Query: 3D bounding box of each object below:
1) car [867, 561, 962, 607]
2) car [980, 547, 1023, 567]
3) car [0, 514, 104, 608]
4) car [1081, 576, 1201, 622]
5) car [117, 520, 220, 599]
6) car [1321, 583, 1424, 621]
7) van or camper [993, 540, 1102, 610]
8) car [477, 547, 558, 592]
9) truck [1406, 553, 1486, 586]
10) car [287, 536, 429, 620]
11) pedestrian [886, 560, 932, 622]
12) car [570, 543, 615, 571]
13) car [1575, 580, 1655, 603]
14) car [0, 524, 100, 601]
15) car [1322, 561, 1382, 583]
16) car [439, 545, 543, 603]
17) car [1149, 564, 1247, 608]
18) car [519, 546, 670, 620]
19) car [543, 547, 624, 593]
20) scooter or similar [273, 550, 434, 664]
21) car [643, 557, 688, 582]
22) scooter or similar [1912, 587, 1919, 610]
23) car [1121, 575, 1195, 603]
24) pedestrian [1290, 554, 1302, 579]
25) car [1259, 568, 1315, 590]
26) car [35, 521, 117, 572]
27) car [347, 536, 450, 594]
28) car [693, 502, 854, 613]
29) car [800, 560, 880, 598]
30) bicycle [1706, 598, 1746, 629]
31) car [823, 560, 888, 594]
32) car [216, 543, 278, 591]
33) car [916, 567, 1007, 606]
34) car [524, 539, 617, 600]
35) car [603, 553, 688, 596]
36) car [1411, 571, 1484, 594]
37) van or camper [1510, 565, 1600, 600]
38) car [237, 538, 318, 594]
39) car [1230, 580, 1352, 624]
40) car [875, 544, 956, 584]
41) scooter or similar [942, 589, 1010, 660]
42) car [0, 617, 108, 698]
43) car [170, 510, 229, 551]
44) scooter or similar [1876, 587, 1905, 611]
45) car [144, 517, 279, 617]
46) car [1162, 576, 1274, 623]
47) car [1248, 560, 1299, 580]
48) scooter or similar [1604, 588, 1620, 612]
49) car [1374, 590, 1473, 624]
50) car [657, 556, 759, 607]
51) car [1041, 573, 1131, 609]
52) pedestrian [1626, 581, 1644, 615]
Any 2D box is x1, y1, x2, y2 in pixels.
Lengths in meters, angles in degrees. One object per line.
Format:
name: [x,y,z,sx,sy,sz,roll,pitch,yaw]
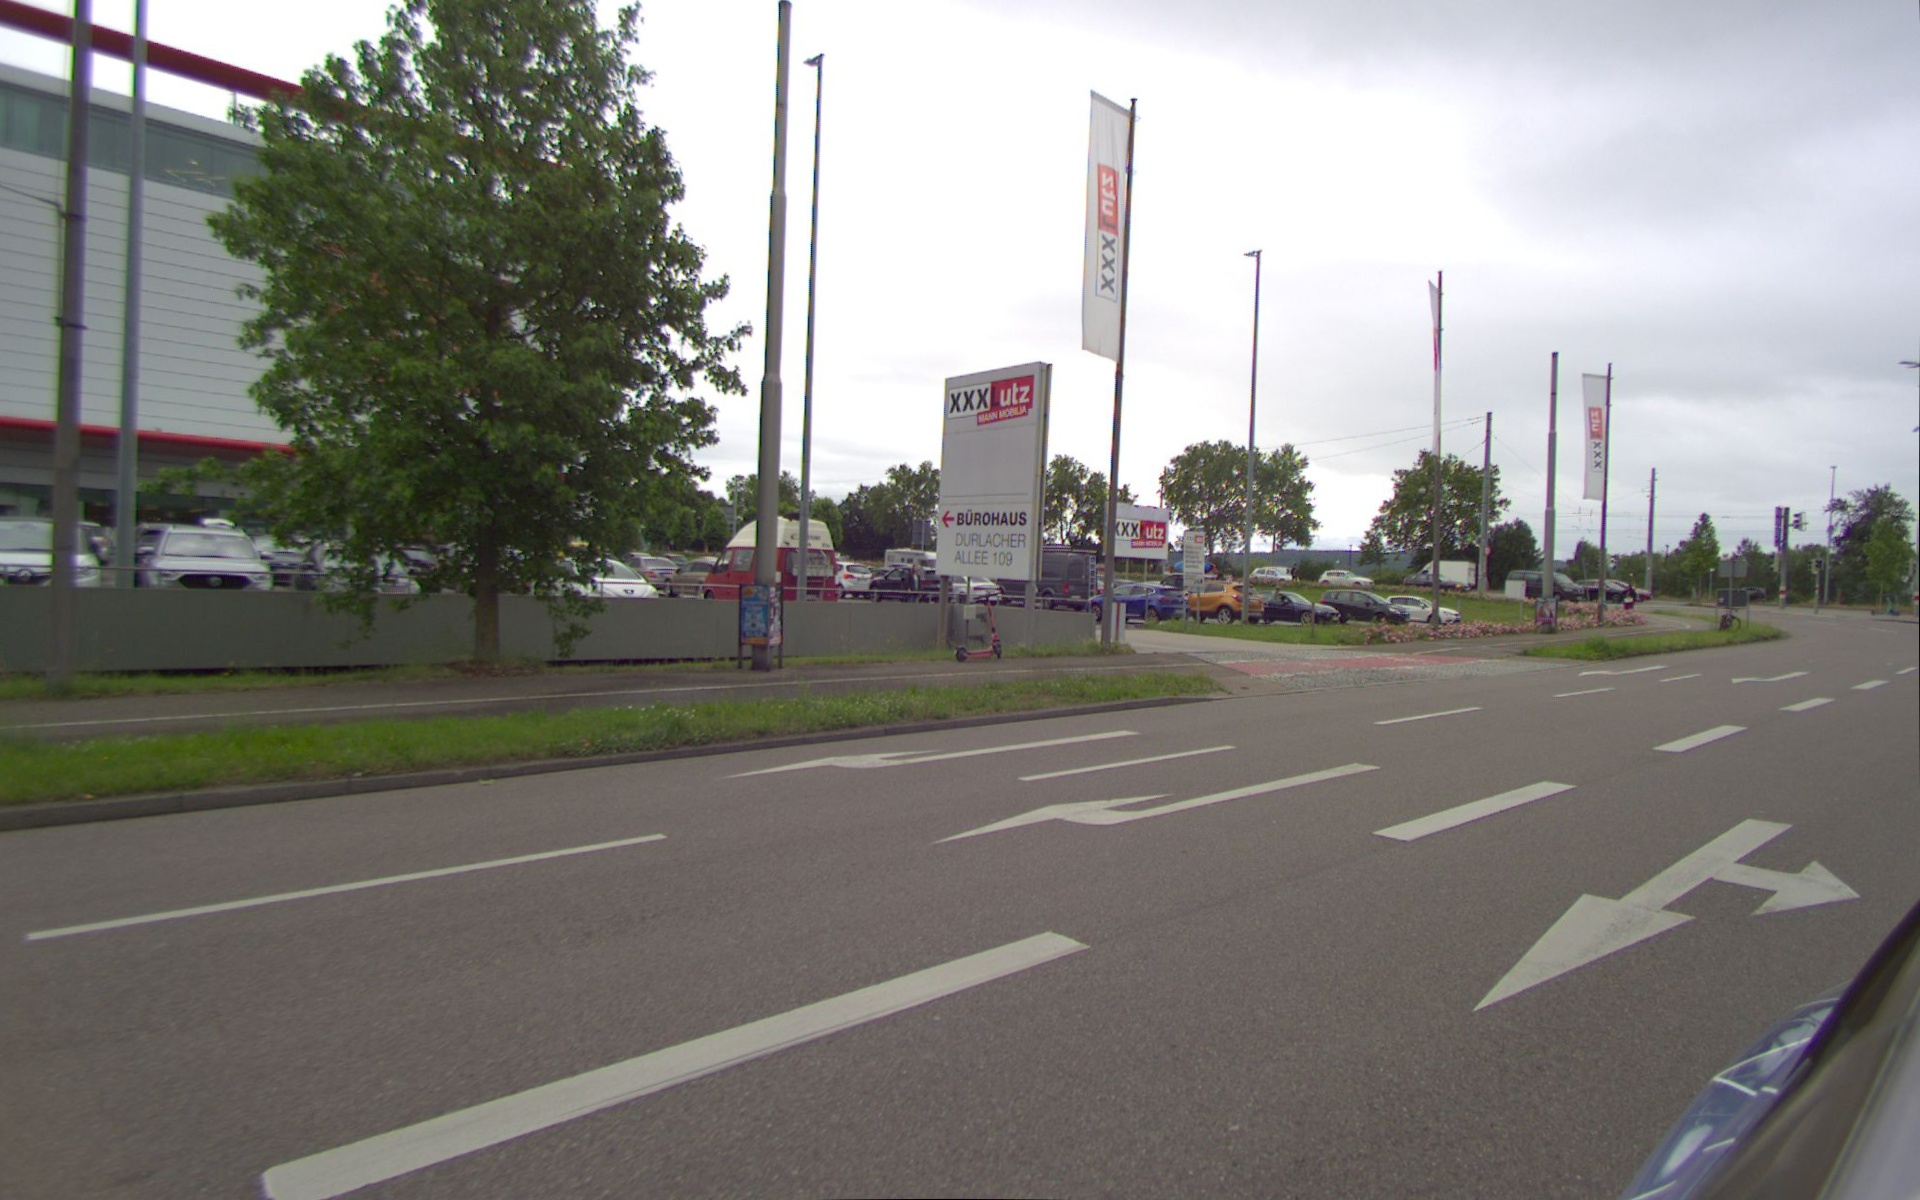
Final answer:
car: [-1.908,-0.691,41.726,1.800,1.674,3.899,2,2,-41]
car: [5.940,-6.253,146.421,5.883,2.658,2.622,4,1,44]
car: [-15.511,-0.660,16.885,1.802,1.367,4.062,3,0,-41]
car: [6.338,-0.065,35.796,1.782,1.473,3.997,0,2,-39]
car: [-20.086,-1.009,25.790,1.853,1.766,4.325,3,0,-37]
car: [19.227,0.084,47.260,1.740,1.603,4.097,2,0,-43]
van or camper: [3.894,-1.169,46.060,1.952,3.020,5.401,0,2,-33]
car: [-15.973,-1.091,36.462,1.754,1.513,3.998,0,1,-38]
truck: [48.380,-3.068,100.844,6.525,2.959,2.783,4,1,44]
car: [-12.120,-0.454,20.227,1.833,1.437,4.477,3,0,-38]
pedestrian: [-1.500,-0.270,29.516,0.870,1.741,0.941,3,-1,-42]
car: [-23.423,-2.749,64.421,1.621,1.579,3.614,2,2,-39]
car: [44.042,-0.596,68.131,1.800,1.482,4.214,1,1,-28]
car: [-22.135,-0.889,24.451,1.799,1.684,4.184,1,1,-37]
car: [30.726,-2.232,79.402,1.702,1.558,4.042,3,1,-40]
car: [-14.502,-0.813,31.193,1.846,1.616,3.995,3,0,-40]
car: [12.848,-0.823,54.989,2.082,2.191,5.054,0,2,-35]
car: [-8.444,-0.405,23.161,1.925,1.479,4.386,3,0,-38]
car: [-14.311,-1.135,38.315,1.754,1.655,3.998,0,1,-38]
scooter or similar: [-8.021,0.072,13.441,1.783,1.438,0.653,0,2,-32]
car: [-19.765,-2.019,67.930,1.621,1.580,3.613,2,0,-39]
scooter or similar: [54.185,-0.055,56.771,0.455,1.271,1.020,0,3,-27]
car: [11.731,-0.662,60.132,1.714,1.494,4.209,0,2,-38]
pedestrian: [25.393,-2.514,76.436,0.622,1.804,0.547,3,-1,-4]
car: [27.080,-1.761,83.915,1.717,1.622,4.068,3,0,-42]
car: [-31.603,-1.870,36.266,1.847,1.631,3.999,3,0,-37]
car: [-16.387,-1.013,29.460,1.855,1.553,3.995,0,1,-40]
car: [-5.027,-1.079,26.744,2.130,2.612,4.735,3,0,-38]
car: [-5.479,-0.982,45.959,1.663,1.600,3.902,2,1,-41]
bicycle: [28.374,0.491,37.489,1.659,1.061,0.666,-1,2,-34]
car: [-6.066,-1.330,58.504,1.800,1.884,3.997,0,2,-39]
car: [-28.744,-1.320,40.763,1.755,1.843,3.996,0,1,-40]
car: [0.020,-0.588,43.376,1.830,1.571,3.997,0,2,-39]
car: [-12.550,-0.976,32.475,1.702,1.790,3.746,3,0,-38]
car: [-12.271,-0.988,39.348,1.707,1.487,4.250,3,0,-38]
car: [35.416,-1.285,73.597,1.931,1.482,4.324,1,3,-35]
van or camper: [39.168,-1.209,66.753,2.080,2.037,4.765,-1,4,-24]
car: [-21.701,-1.062,32.111,1.813,1.646,3.997,0,1,-38]
car: [13.687,0.053,41.939,4.515,1.602,1.747,2,3,37]
car: [-3.688,-2.915,82.368,2.720,3.027,6.940,3,0,-42]
scooter or similar: [0.294,0.424,17.831,1.226,1.205,0.371,1,1,-41]
car: [-18.751,1.106,20.797,1.732,1.367,4.064,0,1,-38]
car: [-34.001,-3.061,45.210,1.798,1.573,3.800,3,0,-40]
scooter or similar: [53.012,-0.075,57.649,0.314,1.271,1.118,-1,3,-27]
car: [-13.606,-0.585,18.361,1.731,1.560,4.065,3,0,-38]
car: [9.912,-0.047,39.157,1.781,1.663,4.001,0,2,-35]
car: [35.465,-3.388,114.487,5.097,1.903,2.071,4,1,39]
scooter or similar: [34.797,-0.002,54.019,0.341,1.248,1.161,0,1,11]
car: [23.213,0.343,50.818,1.843,1.464,4.114,3,0,-41]
car: [-8.929,-0.653,35.600,1.800,1.604,4.423,3,0,-38]
car: [5.969,-0.446,48.264,1.964,1.588,3.996,0,1,-39]
pedestrian: [33.240,-0.109,49.814,0.712,1.616,0.774,2,3,35]
